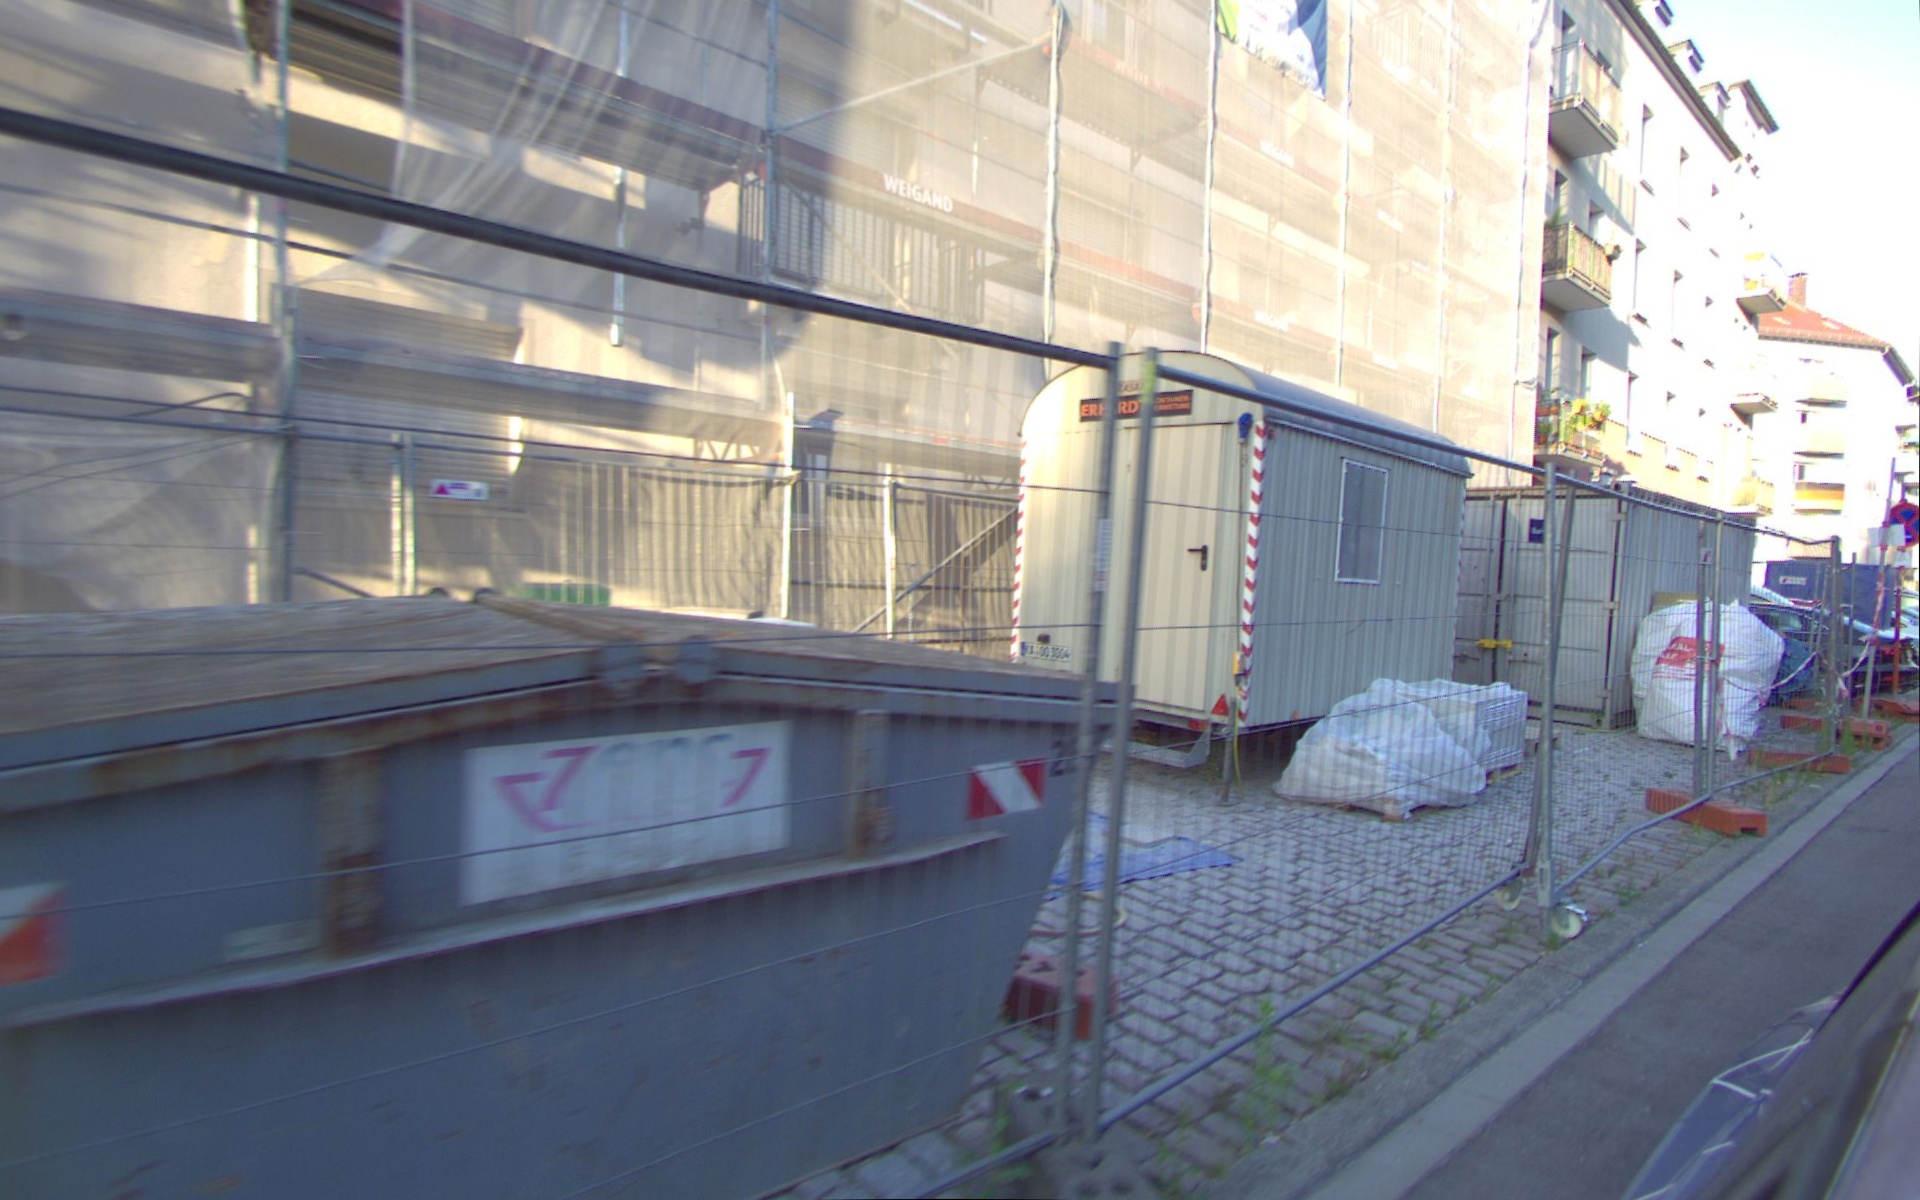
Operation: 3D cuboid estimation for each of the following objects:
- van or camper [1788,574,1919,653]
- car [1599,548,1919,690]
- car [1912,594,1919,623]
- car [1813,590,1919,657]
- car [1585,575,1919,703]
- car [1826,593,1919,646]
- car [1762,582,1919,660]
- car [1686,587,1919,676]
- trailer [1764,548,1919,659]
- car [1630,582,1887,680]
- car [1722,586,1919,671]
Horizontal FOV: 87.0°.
[{"bbox_3d":[26.917,0.390,28.865,2.005,2.122,4.842,1,2,-42],"label":"van or camper"},{"bbox_3d":[14.009,0.240,17.829,4.269,2.004,1.793,7,3,44],"label":"car"},{"bbox_3d":[52.566,0.536,52.603,1.889,1.560,4.310,1,2,-40],"label":"car"},{"bbox_3d":[25.251,0.630,26.681,1.966,1.660,3.993,0,2,-43],"label":"car"},{"bbox_3d":[12.357,0.490,15.670,1.838,1.635,4.163,1,2,-39],"label":"car"},{"bbox_3d":[30.141,0.623,31.985,1.966,1.549,3.993,0,2,-43],"label":"car"},{"bbox_3d":[22.893,0.487,25.450,1.966,1.749,3.993,-1,3,-42],"label":"car"},{"bbox_3d":[17.700,0.583,21.045,1.759,1.591,3.968,0,2,-44],"label":"car"},{"bbox_3d":[21.572,0.060,23.990,1.909,2.365,3.572,0,4,-44],"label":"trailer"},{"bbox_3d":[15.496,0.517,19.769,1.716,1.630,3.697,0,2,-43],"label":"car"},{"bbox_3d":[19.523,0.583,22.398,1.872,1.658,3.991,0,2,-44],"label":"car"}]
